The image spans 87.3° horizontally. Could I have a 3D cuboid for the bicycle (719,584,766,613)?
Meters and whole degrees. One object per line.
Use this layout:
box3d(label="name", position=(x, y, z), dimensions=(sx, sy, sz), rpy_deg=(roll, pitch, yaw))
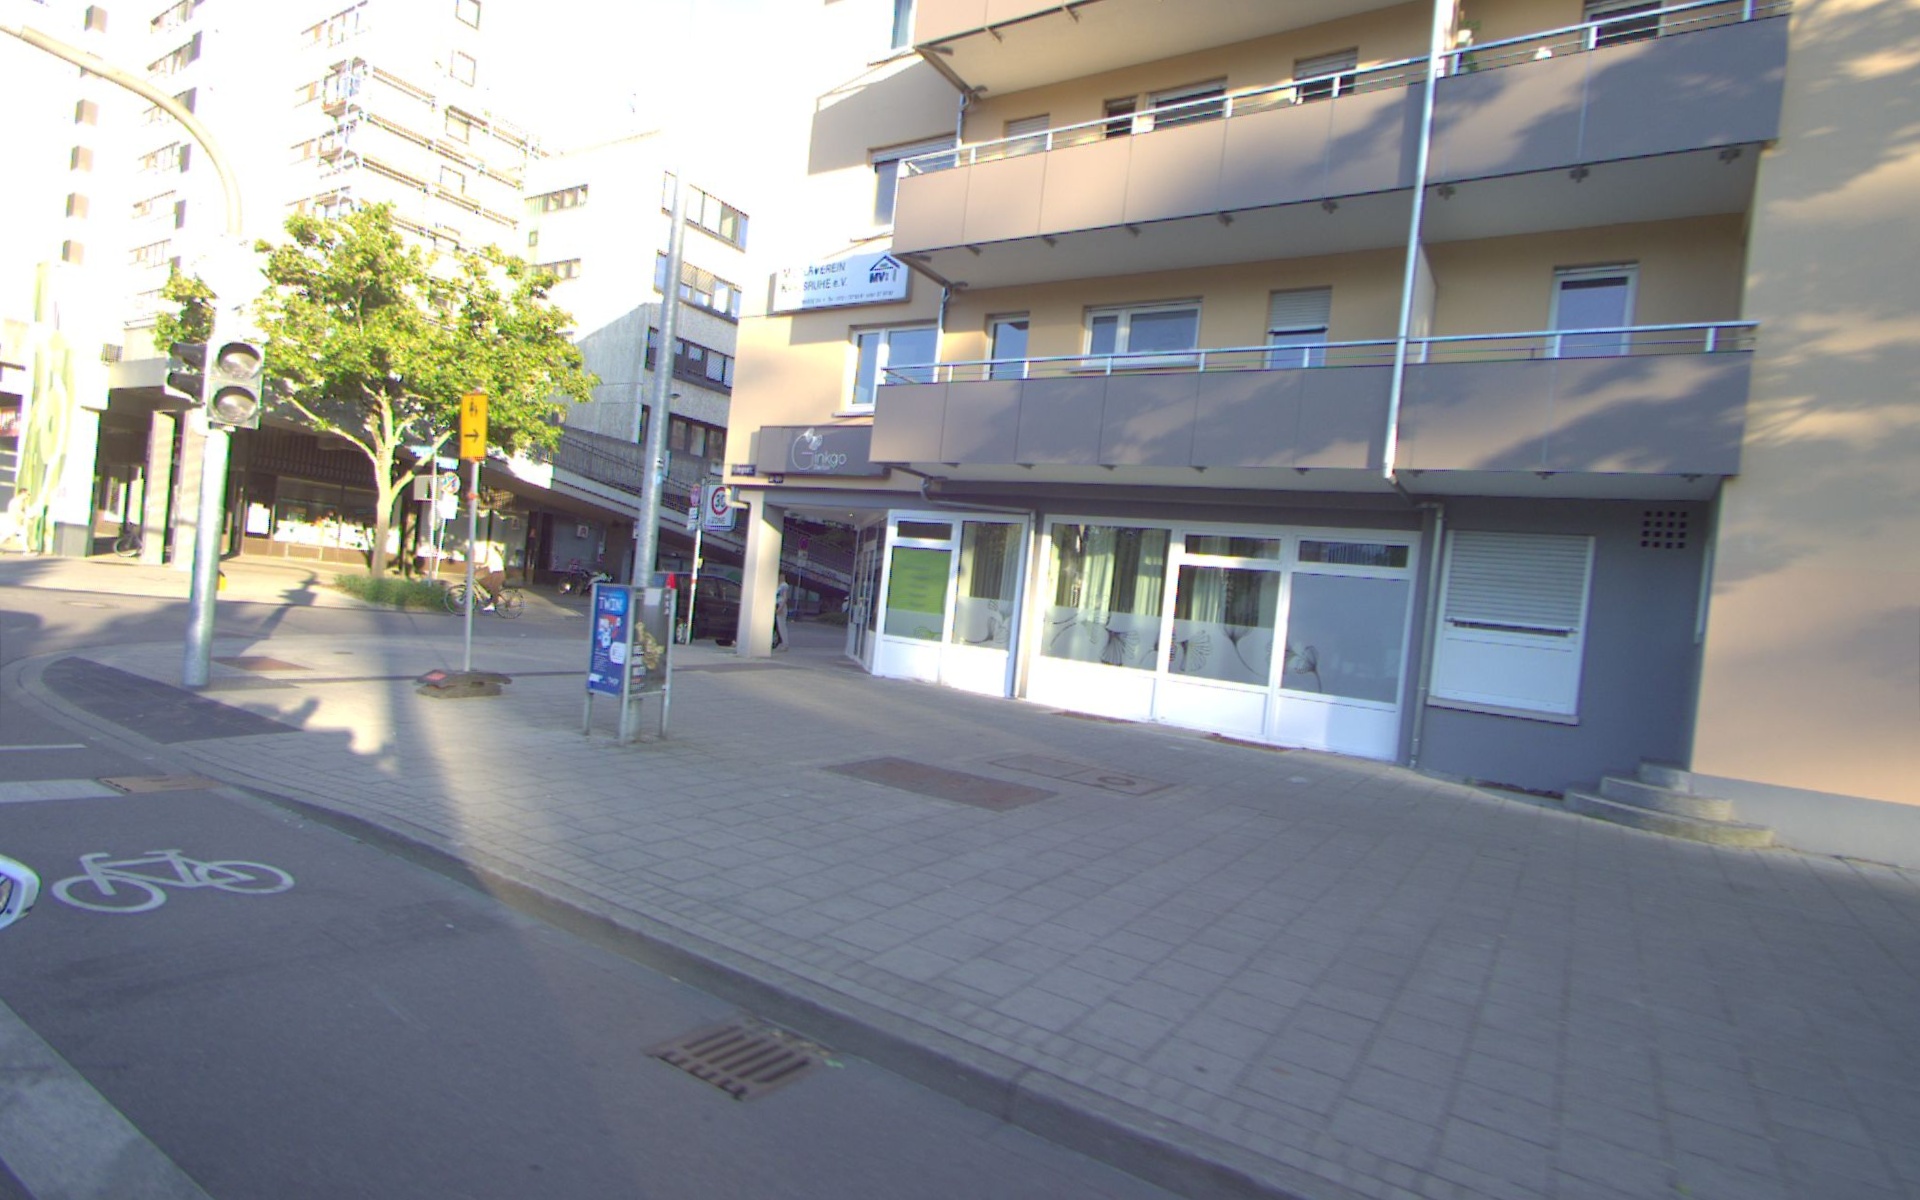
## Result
box3d(label="bicycle", position=(-9.761, -0.062, 45.236), dimensions=(1.940, 1.086, 0.583), rpy_deg=(6, -3, 20))

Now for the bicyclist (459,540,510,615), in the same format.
box3d(label="bicyclist", position=(-11.547, -0.543, 24.429), dimensions=(0.815, 1.702, 0.644), rpy_deg=(5, 1, -45))

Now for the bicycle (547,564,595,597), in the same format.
box3d(label="bicycle", position=(-14.929, -0.747, 38.585), dimensions=(1.946, 1.086, 0.582), rpy_deg=(5, -3, 34))

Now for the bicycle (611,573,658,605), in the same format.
box3d(label="bicycle", position=(-12.864, -0.451, 39.773), dimensions=(1.946, 1.086, 0.582), rpy_deg=(5, -3, 34))

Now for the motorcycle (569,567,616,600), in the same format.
box3d(label="motorcycle", position=(-14.236, -0.634, 38.945), dimensions=(1.847, 1.086, 0.646), rpy_deg=(5, -3, 34))

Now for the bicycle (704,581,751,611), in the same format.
box3d(label="bicycle", position=(-10.175, -0.198, 44.044), dimensions=(1.942, 1.086, 0.583), rpy_deg=(6, -3, 25))

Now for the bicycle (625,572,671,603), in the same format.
box3d(label="bicycle", position=(-12.551, -0.511, 40.434), dimensions=(1.946, 1.086, 0.582), rpy_deg=(5, -3, 34))

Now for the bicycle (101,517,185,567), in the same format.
box3d(label="bicycle", position=(-23.623, -1.686, 29.079), dimensions=(1.984, 1.162, 0.692), rpy_deg=(6, -3, 13))

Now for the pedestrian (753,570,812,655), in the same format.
box3d(label="pedestrian", position=(-3.573, 0.258, 20.305), dimensions=(0.637, 1.606, 0.836), rpy_deg=(6, 1, 30))

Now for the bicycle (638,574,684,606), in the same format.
box3d(label="bicycle", position=(-12.140, -0.418, 40.826), dimensions=(1.946, 1.086, 0.582), rpy_deg=(5, -3, 34))

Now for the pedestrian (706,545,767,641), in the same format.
box3d(label="pedestrian", position=(-4.563, -0.134, 20.571), dimensions=(0.637, 1.851, 0.836), rpy_deg=(6, 1, 30))

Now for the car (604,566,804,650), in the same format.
box3d(label="car", position=(-5.451, 0.214, 21.893), dimensions=(1.680, 1.605, 4.038), rpy_deg=(3, -1, 36))

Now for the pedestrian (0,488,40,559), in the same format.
box3d(label="pedestrian", position=(-24.501, -1.988, 25.981), dimensions=(0.637, 1.733, 0.836), rpy_deg=(6, 1, 30))

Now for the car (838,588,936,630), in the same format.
box3d(label="car", position=(-3.235, 0.387, 44.239), dimensions=(3.989, 1.605, 1.701), rpy_deg=(2, -1, 32))

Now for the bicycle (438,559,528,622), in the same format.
box3d(label="bicycle", position=(-11.583, -0.220, 24.481), dimensions=(1.774, 1.326, 0.645), rpy_deg=(6, 0, -42))
